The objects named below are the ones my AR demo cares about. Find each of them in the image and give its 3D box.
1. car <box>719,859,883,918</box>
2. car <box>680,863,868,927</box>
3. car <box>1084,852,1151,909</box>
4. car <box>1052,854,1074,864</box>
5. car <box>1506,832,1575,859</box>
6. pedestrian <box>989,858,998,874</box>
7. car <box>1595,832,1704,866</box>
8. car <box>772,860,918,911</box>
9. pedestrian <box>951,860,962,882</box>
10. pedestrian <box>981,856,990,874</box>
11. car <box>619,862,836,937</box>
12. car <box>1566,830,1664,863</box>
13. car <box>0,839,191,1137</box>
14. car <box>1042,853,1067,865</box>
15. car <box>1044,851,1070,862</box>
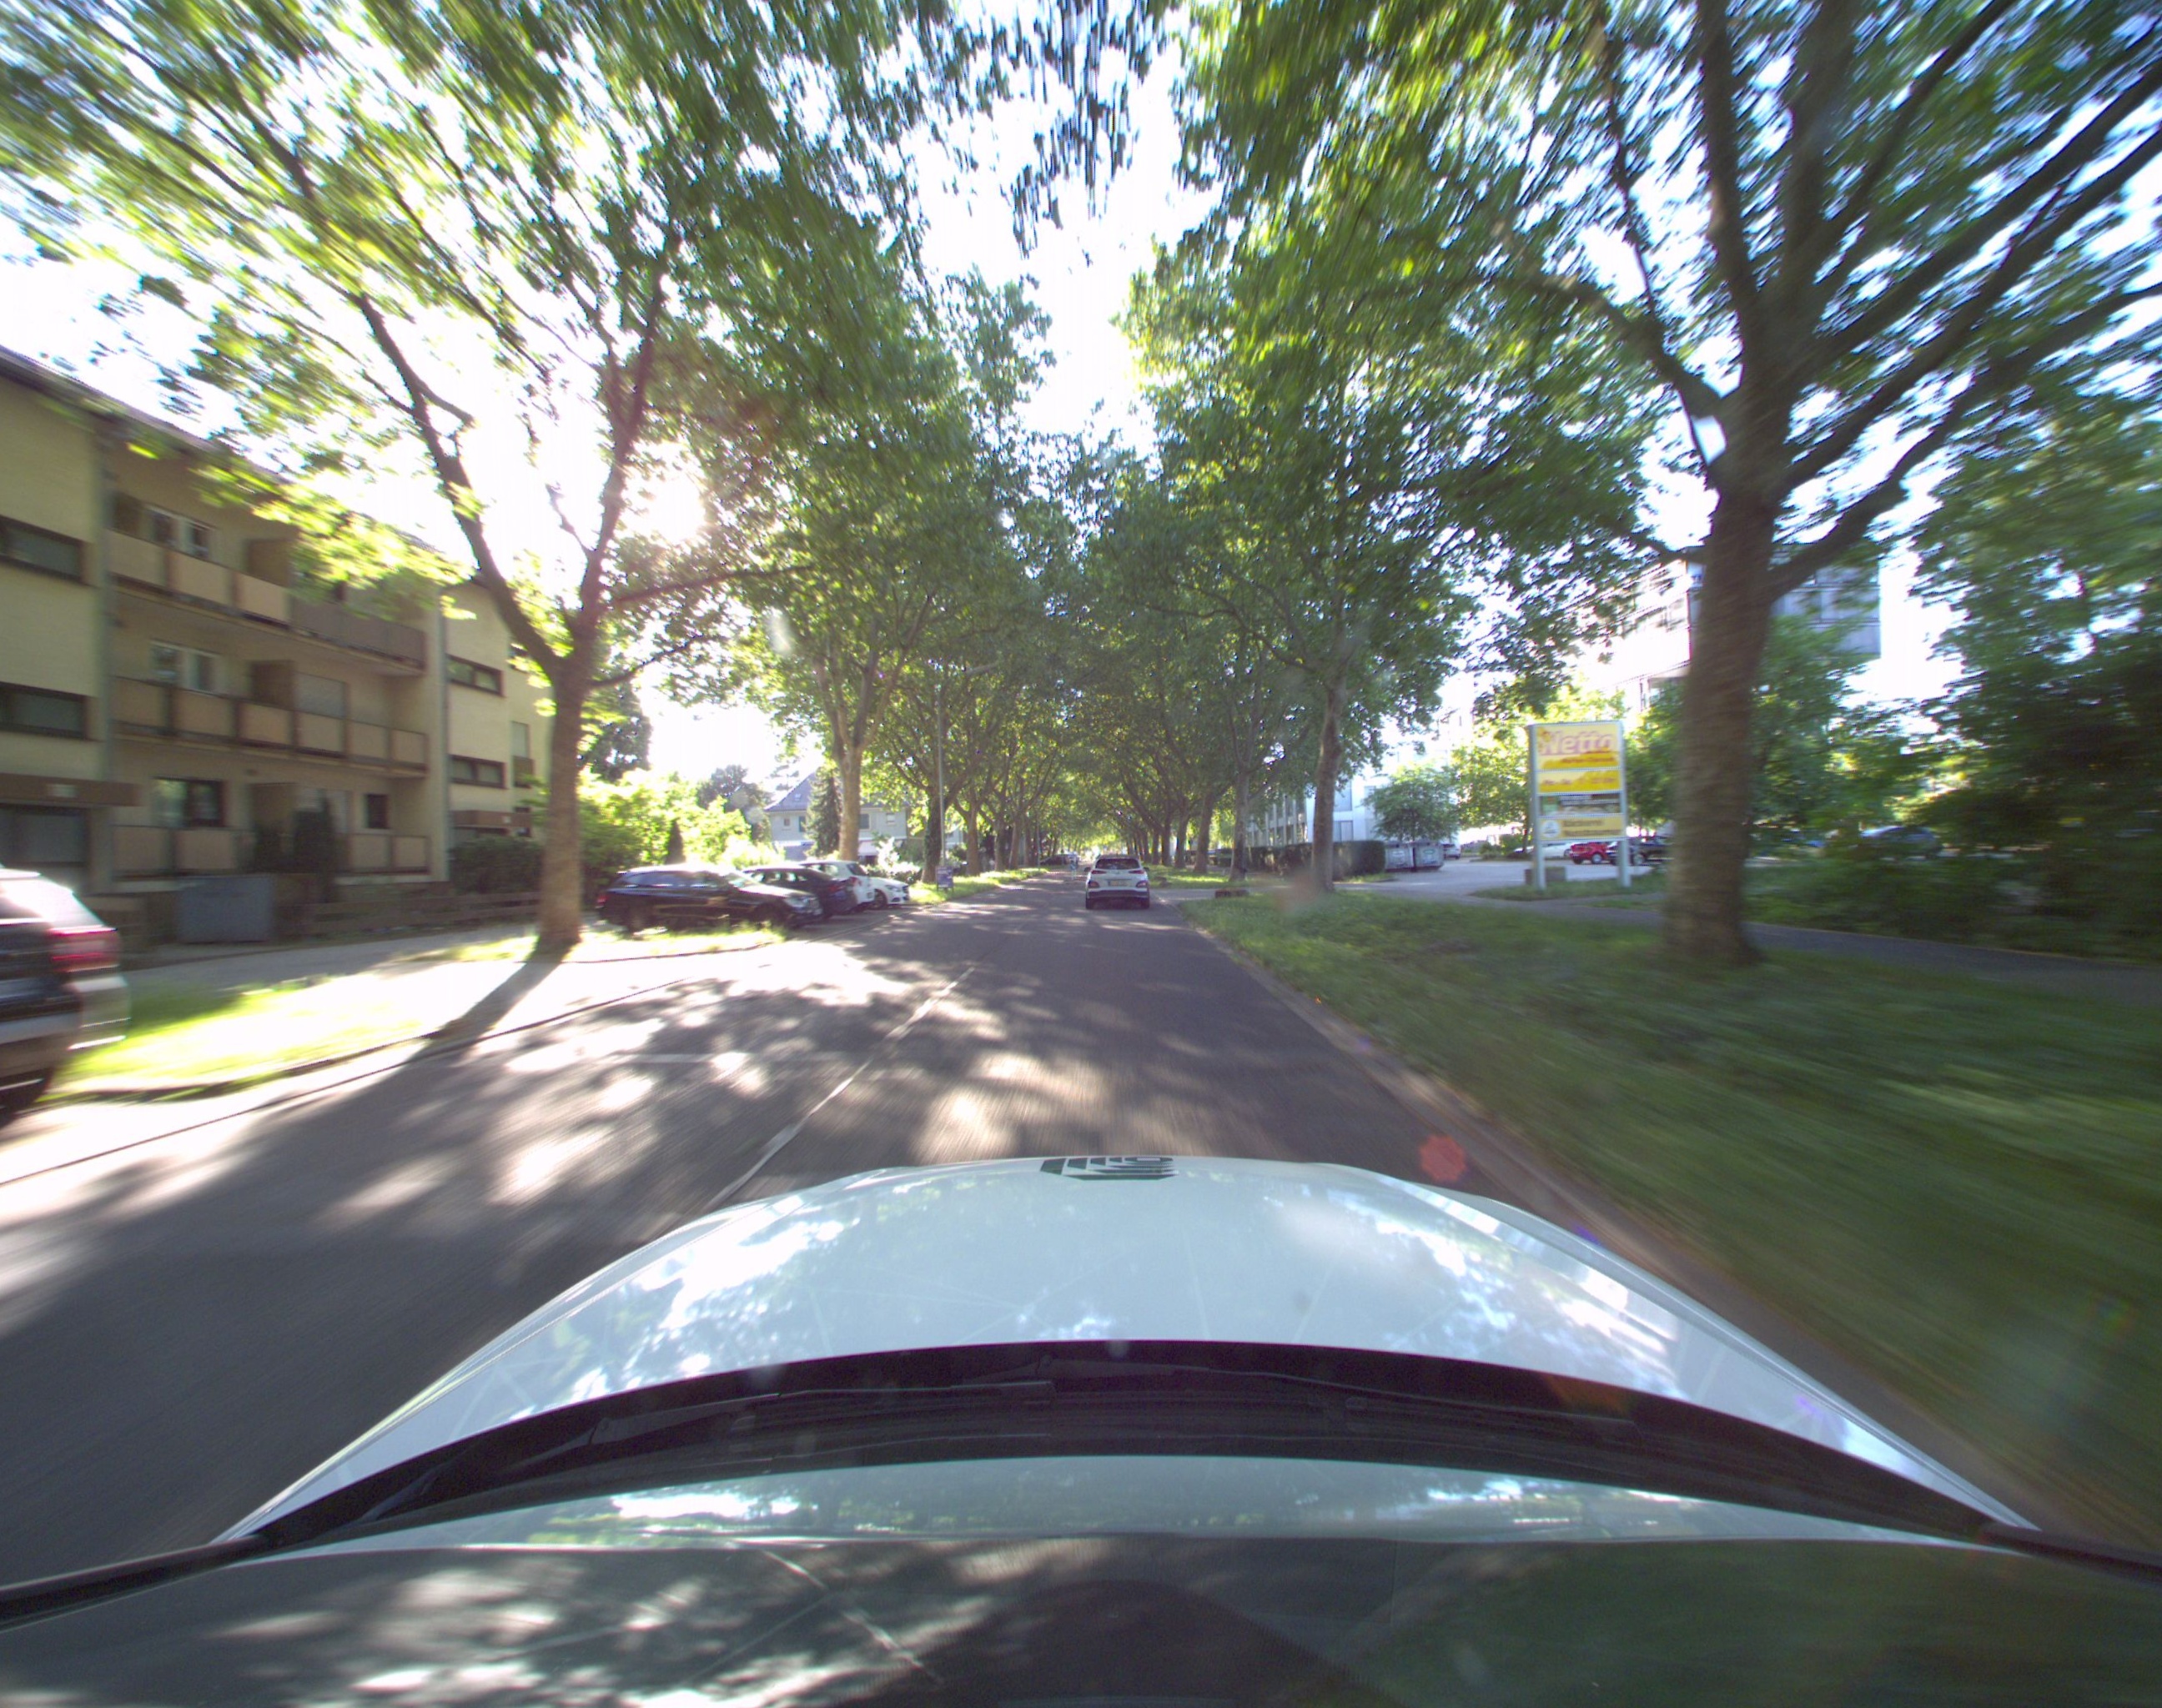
[{"bbox_3d":[-7.862,0.955,23.130,3.974,1.520,1.809,-1,0,0],"label":"car"},{"bbox_3d":[-7.562,0.980,20.372,3.978,1.424,1.807,-1,0,-3],"label":"car"},{"bbox_3d":[1.043,0.752,24.321,1.829,1.556,4.001,0,-1,1],"label":"car"},{"bbox_3d":[-3.437,0.976,151.297,3.978,1.772,1.998,-1,0,-4],"label":"car"},{"bbox_3d":[34.414,-0.630,61.044,3.969,1.772,2.002,-2,0,4],"label":"car"},{"bbox_3d":[-9.361,1.295,86.968,0.752,1.707,0.787,0,-1,-23],"label":"pedestrian"},{"bbox_3d":[27.280,-0.247,39.143,3.978,1.441,1.861,-2,0,-4],"label":"car"},{"bbox_3d":[-7.367,0.967,25.682,3.971,1.470,1.810,-1,0,2],"label":"car"},{"bbox_3d":[-10.015,1.351,65.598,0.746,1.707,0.793,-1,-1,1],"label":"pedestrian"},{"bbox_3d":[-10.178,1.193,86.705,0.753,1.874,0.787,0,-1,-24],"label":"pedestrian"},{"bbox_3d":[-7.722,0.964,18.045,3.974,1.470,1.780,-1,0,0],"label":"car"},{"bbox_3d":[27.900,-0.386,42.622,3.978,1.567,1.861,-1,0,-4],"label":"car"},{"bbox_3d":[-8.223,0.816,4.736,4.229,1.680,1.671,-2,0,1],"label":"car"},{"bbox_3d":[-4.369,0.844,132.306,3.978,1.772,1.997,-1,-1,-4],"label":"car"},{"bbox_3d":[-3.841,0.410,129.048,3.978,1.772,1.997,-1,-1,-4],"label":"car"}]
